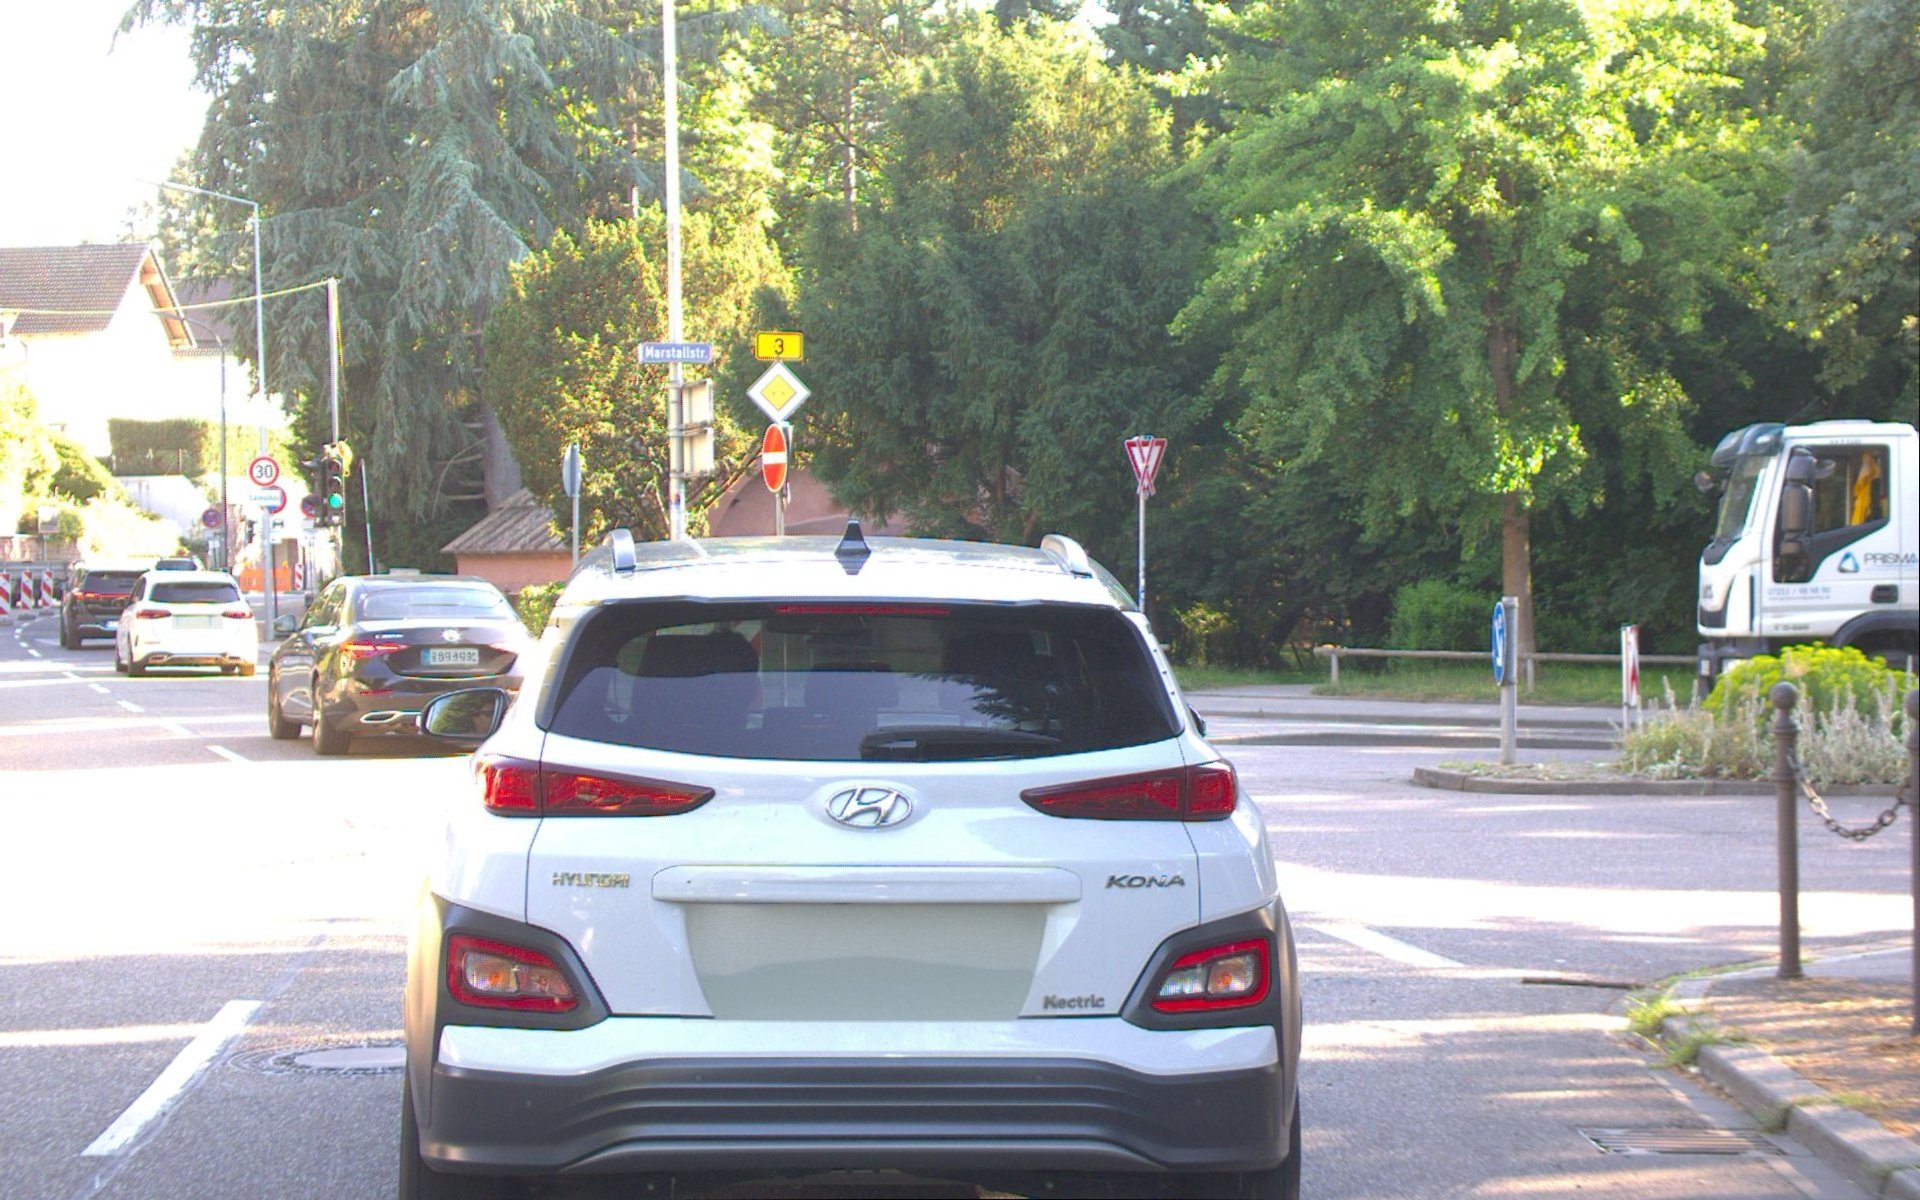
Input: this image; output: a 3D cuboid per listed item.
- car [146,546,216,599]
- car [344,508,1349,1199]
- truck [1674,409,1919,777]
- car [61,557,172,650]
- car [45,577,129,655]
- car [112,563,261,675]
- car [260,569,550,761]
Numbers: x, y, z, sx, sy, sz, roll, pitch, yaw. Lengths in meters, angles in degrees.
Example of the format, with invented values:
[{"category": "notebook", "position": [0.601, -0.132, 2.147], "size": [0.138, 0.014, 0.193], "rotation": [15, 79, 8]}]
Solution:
[{"category": "car", "position": [-25.096, -0.899, 110.841], "size": [1.831, 1.656, 4.001], "rotation": [1, 0, -8]}, {"category": "car", "position": [-0.362, 0.617, 8.317], "size": [1.820, 1.568, 4.001], "rotation": [1, 0, -5]}, {"category": "truck", "position": [9.382, -0.005, 28.271], "size": [6.588, 2.885, 2.433], "rotation": [1, 0, 6]}, {"category": "car", "position": [-15.982, 0.041, 65.027], "size": [1.831, 1.656, 4.001], "rotation": [1, 0, -16]}, {"category": "car", "position": [-20.614, 0.356, 81.082], "size": [1.831, 1.735, 4.001], "rotation": [1, 0, -15]}, {"category": "car", "position": [-11.423, 0.257, 50.595], "size": [1.805, 1.532, 4.001], "rotation": [1, 0, -17]}, {"category": "car", "position": [-4.701, 0.490, 28.644], "size": [1.707, 1.429, 4.366], "rotation": [1, 0, -18]}]
